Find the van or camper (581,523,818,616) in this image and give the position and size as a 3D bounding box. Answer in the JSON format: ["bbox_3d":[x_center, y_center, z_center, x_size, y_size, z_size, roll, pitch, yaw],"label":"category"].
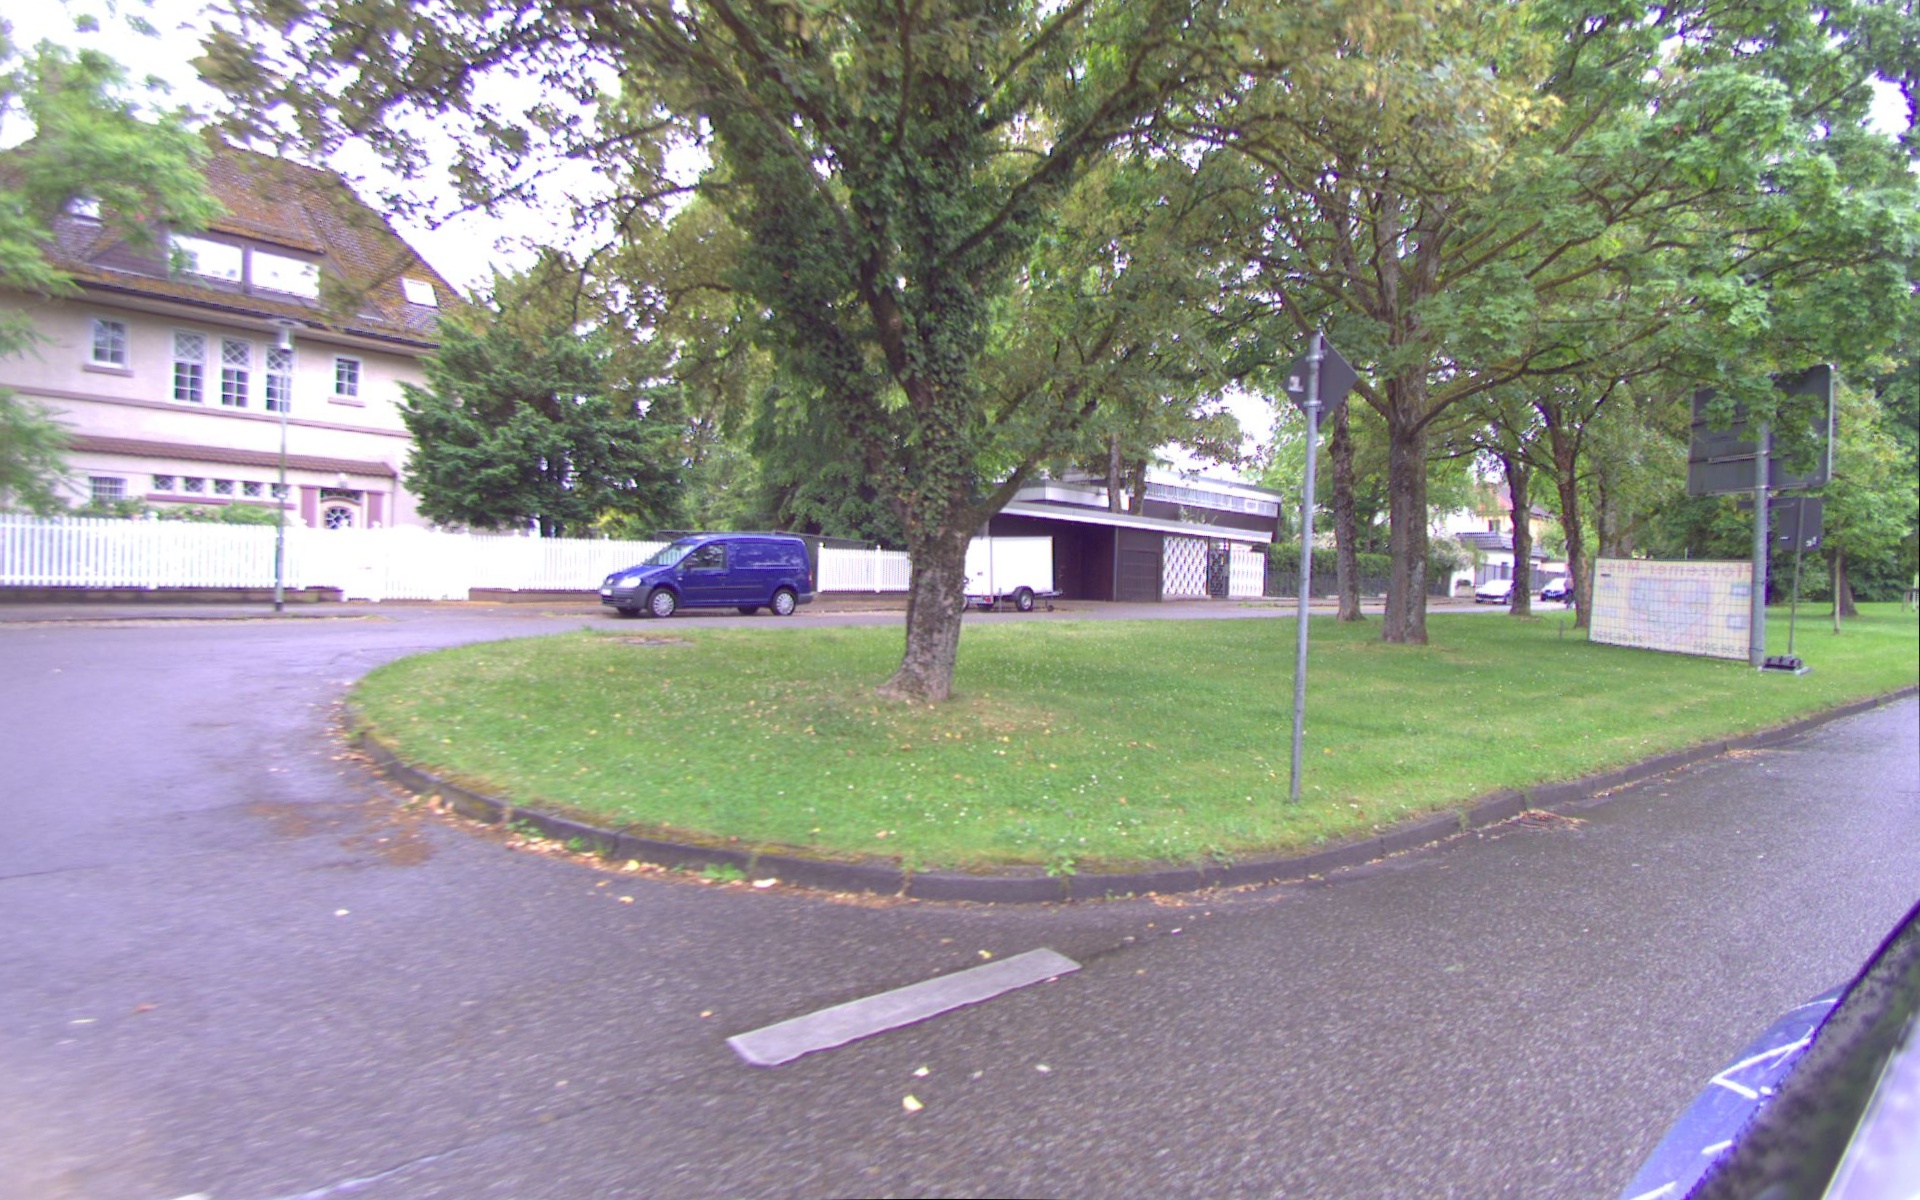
[{"bbox_3d":[-5.614,-0.622,22.252,1.994,1.831,4.699,0,0,45],"label":"van or camper"}]

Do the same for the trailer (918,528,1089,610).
[{"bbox_3d":[1.326,-0.832,28.600,5.106,2.143,1.768,-1,0,-43],"label":"trailer"}]

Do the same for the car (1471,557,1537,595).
[{"bbox_3d":[30.875,-1.339,57.444,3.930,2.038,1.998,0,2,-41],"label":"car"}]
